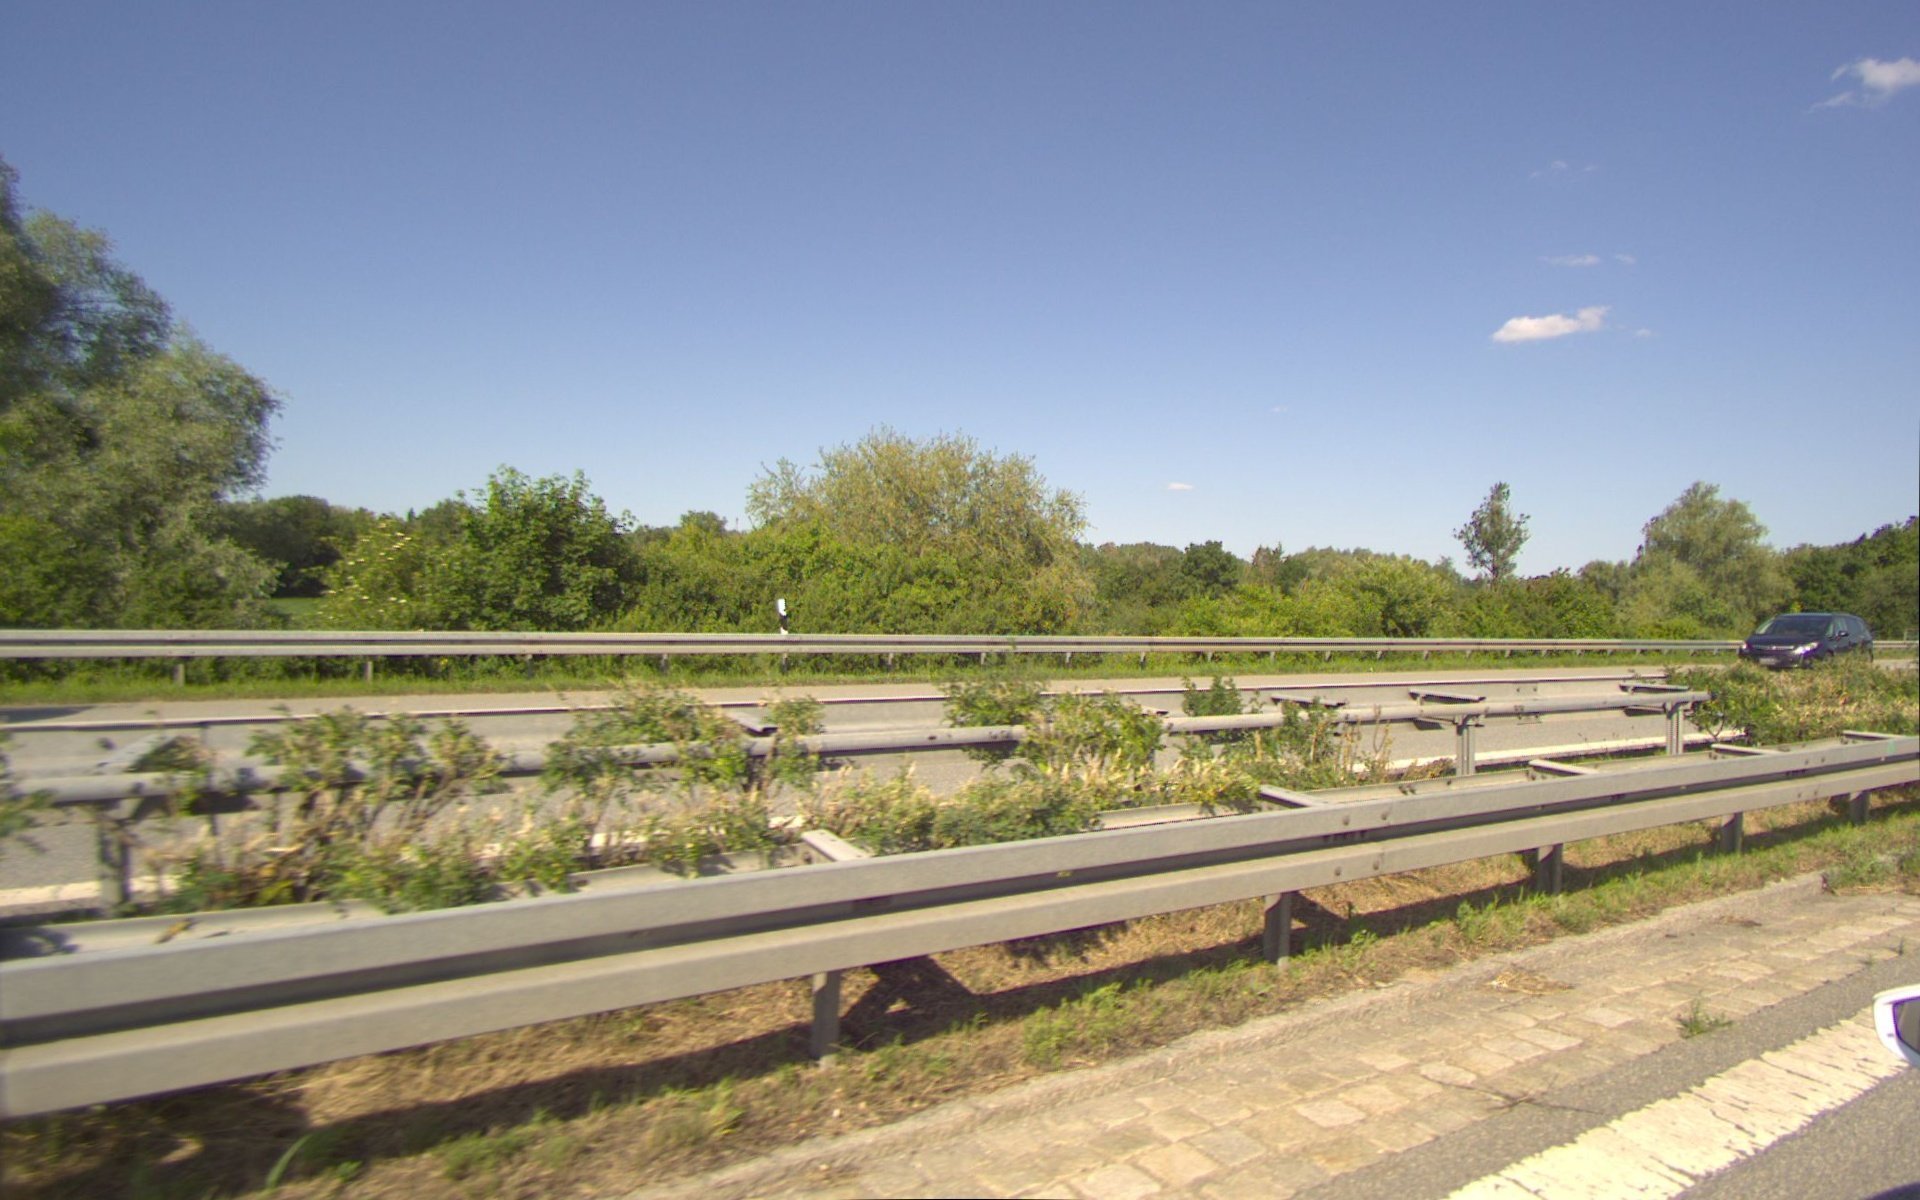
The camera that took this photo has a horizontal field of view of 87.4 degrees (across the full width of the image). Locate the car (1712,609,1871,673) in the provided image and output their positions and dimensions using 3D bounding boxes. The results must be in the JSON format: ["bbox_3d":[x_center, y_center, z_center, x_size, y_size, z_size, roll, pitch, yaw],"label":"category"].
[{"bbox_3d":[21.963,1.060,26.499,4.370,1.575,1.983,1,-1,-32],"label":"car"}]
